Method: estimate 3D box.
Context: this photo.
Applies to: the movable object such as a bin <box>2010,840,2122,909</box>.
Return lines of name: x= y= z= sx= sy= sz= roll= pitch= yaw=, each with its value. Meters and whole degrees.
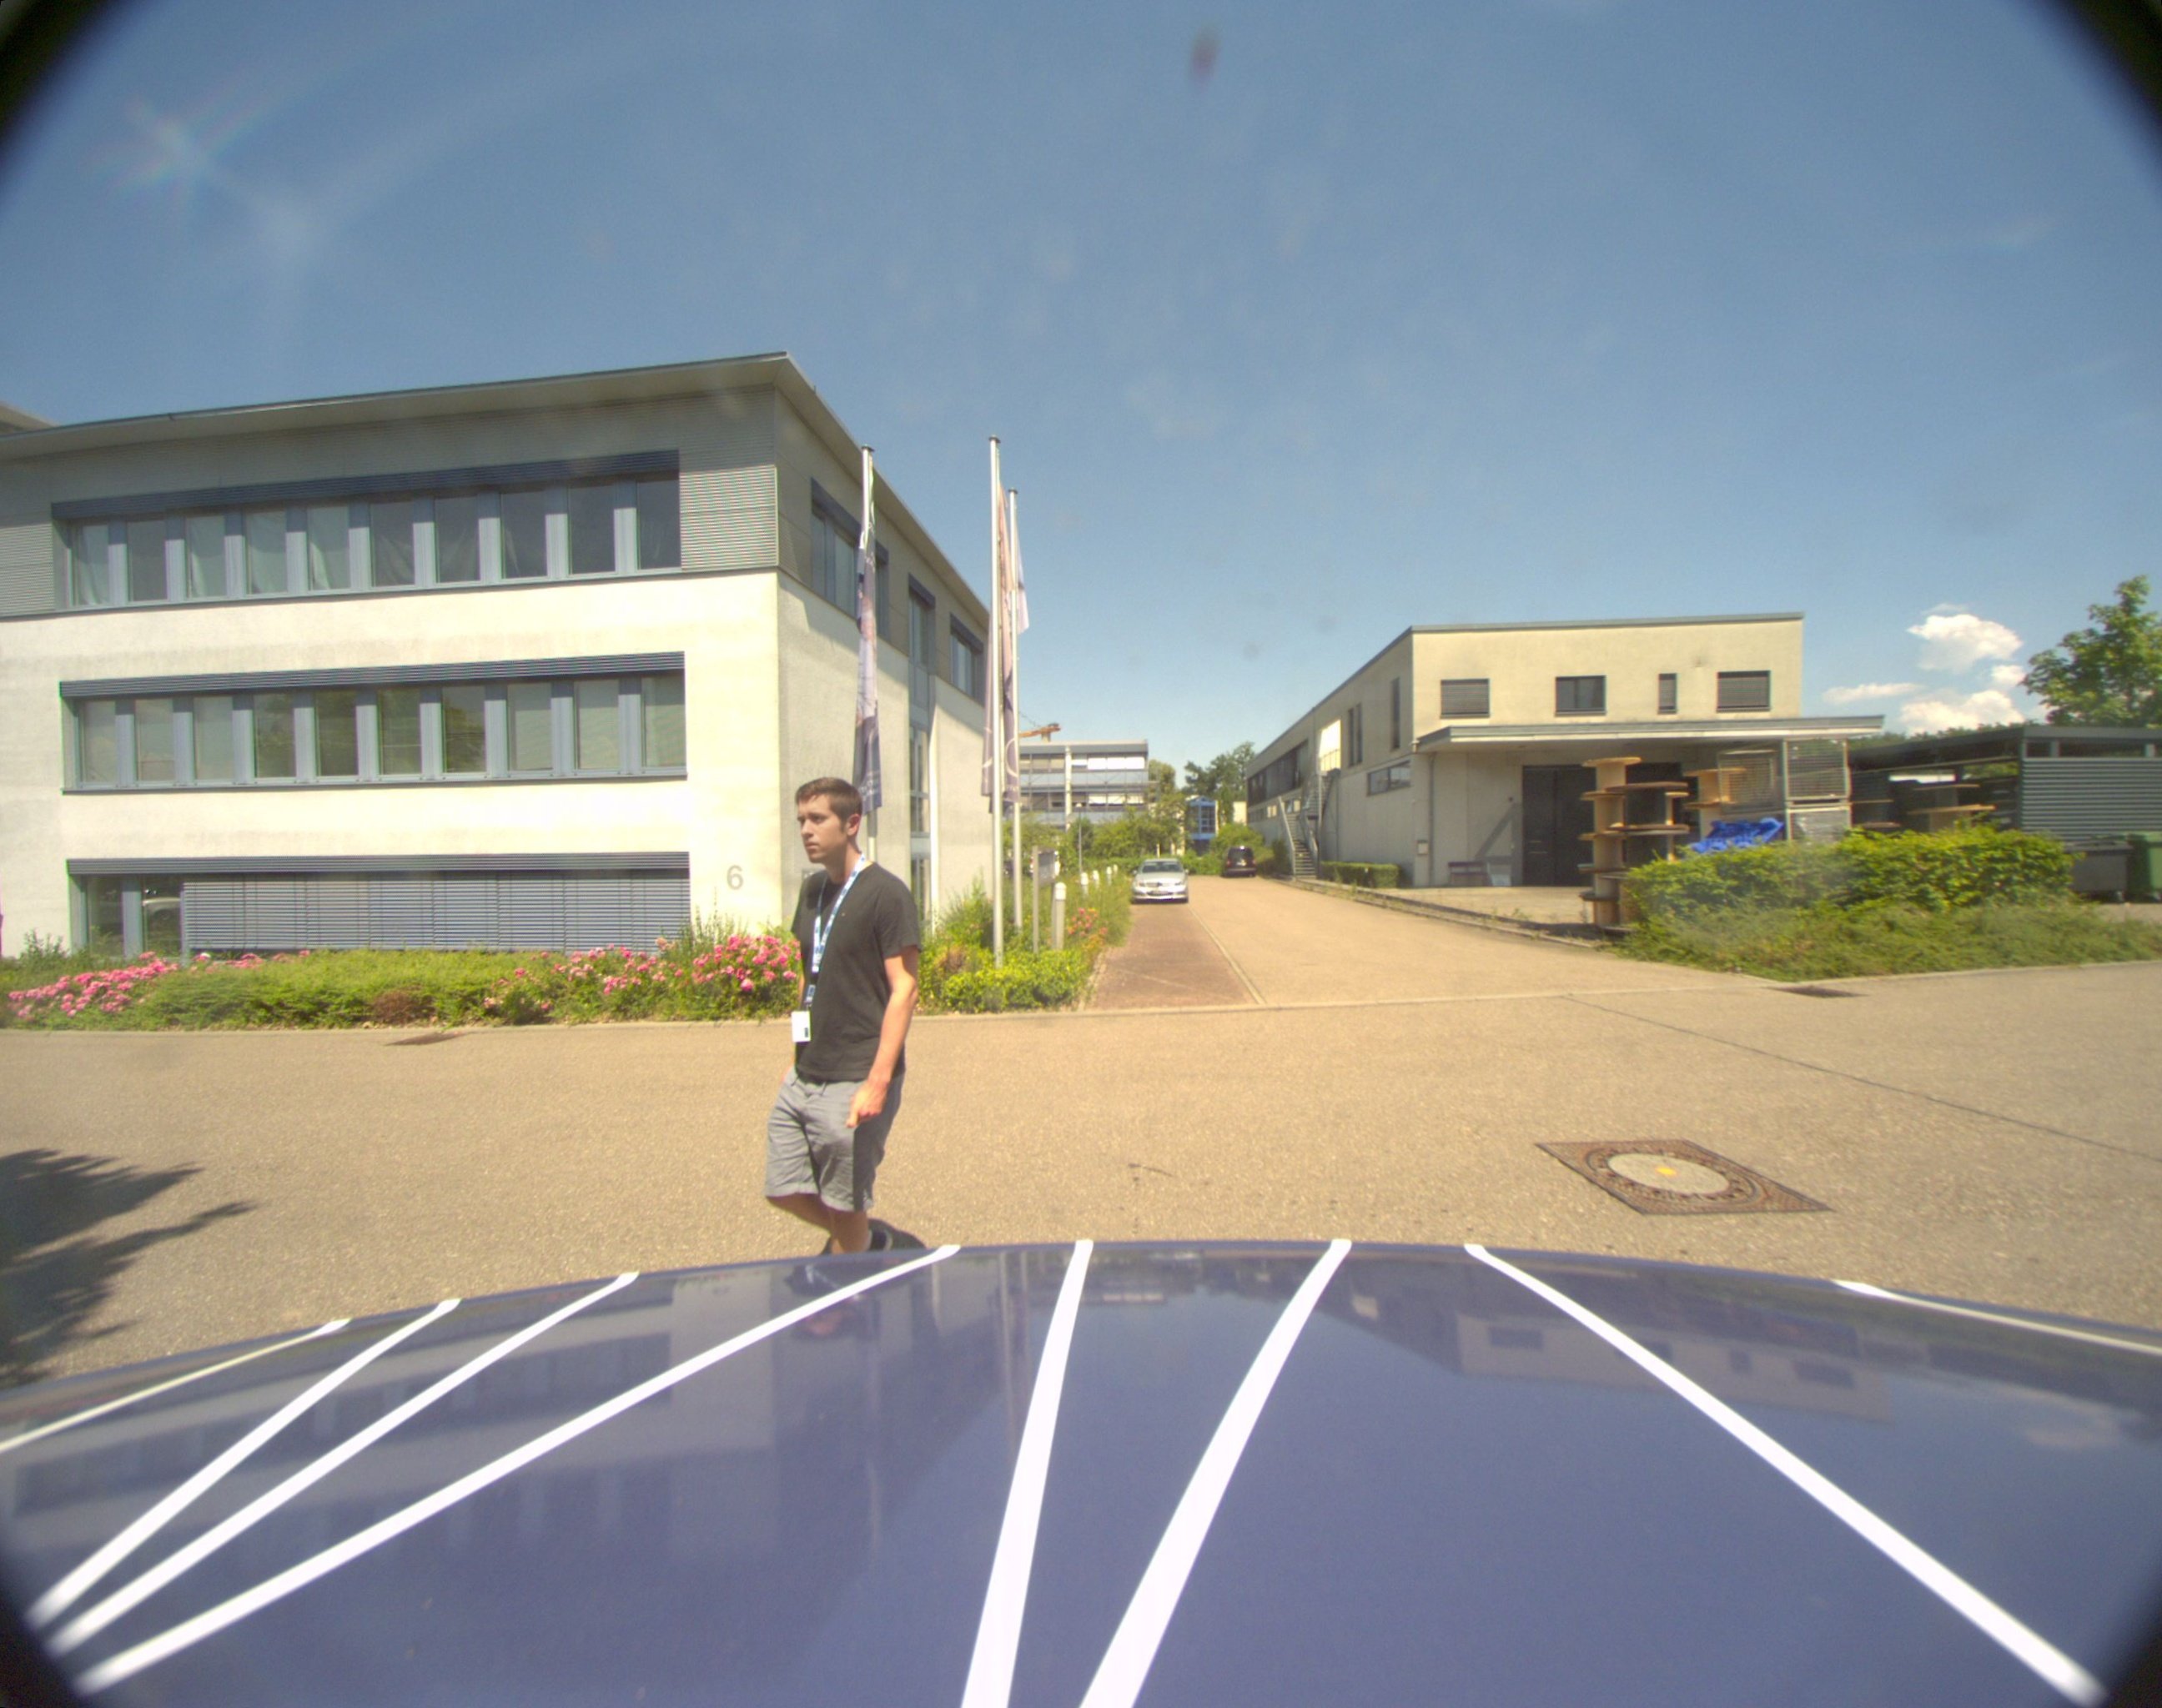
movable object such as a bin: x=18.825 y=0.379 z=14.548 sx=1.071 sy=1.264 sz=0.760 roll=-2 pitch=1 yaw=10

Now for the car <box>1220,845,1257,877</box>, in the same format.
car: x=9.387 y=0.373 z=45.408 sx=1.786 sy=1.793 sz=4.001 roll=-2 pitch=1 yaw=7

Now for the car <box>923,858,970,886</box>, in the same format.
car: x=-8.213 y=1.064 z=46.783 sx=1.787 sy=1.537 sz=4.001 roll=-2 pitch=1 yaw=5

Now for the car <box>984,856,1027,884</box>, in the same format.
car: x=-4.552 y=0.932 z=46.407 sx=1.787 sy=1.537 sz=4.001 roll=-2 pitch=1 yaw=5

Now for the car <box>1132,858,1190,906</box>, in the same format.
car: x=2.739 y=0.877 z=25.368 sx=1.710 sy=1.383 sz=3.813 roll=-1 pitch=1 yaw=9

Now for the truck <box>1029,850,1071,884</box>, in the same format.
truck: x=-1.793 y=0.718 z=45.384 sx=1.998 sy=1.882 sz=4.001 roll=-2 pitch=0 yaw=4

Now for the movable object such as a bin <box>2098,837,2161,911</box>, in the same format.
movable object such as a bin: x=20.134 y=0.364 z=14.220 sx=1.071 sy=1.329 sz=0.760 roll=-2 pitch=1 yaw=10

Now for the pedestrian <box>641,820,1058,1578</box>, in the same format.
pedestrian: x=-0.730 y=0.822 z=2.424 sx=0.858 sy=1.809 sz=0.906 roll=-1 pitch=1 yaw=45
